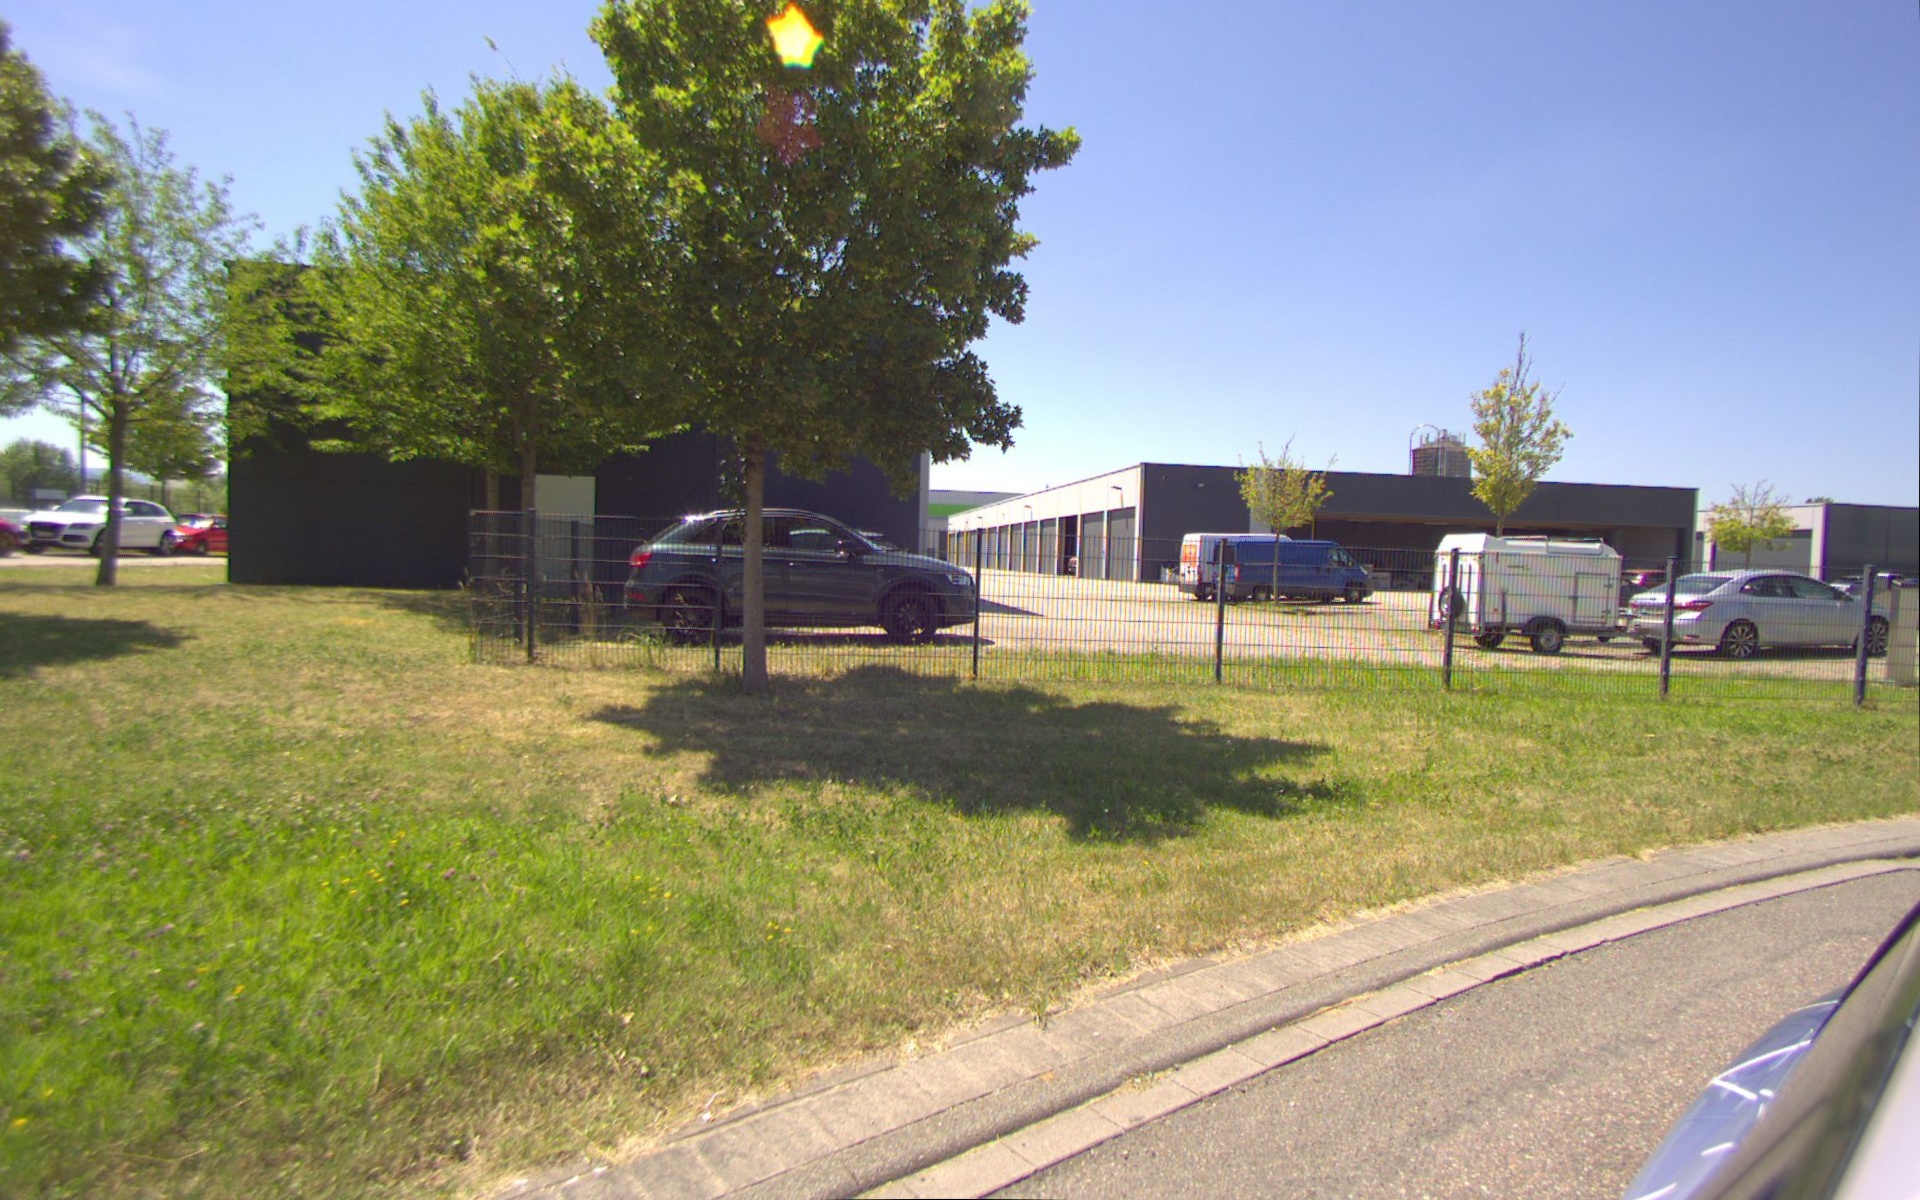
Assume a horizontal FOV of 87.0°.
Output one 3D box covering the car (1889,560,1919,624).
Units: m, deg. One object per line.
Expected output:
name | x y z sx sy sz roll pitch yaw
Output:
car | 24.701 -0.116 23.929 3.846 1.517 1.858 2 2 -6

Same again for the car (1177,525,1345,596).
car | 11.143 -1.468 37.681 5.562 2.487 2.200 -1 2 -9

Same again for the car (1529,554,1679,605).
car | 23.147 -0.754 36.463 4.168 1.651 1.971 2 2 -6

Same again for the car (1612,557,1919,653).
car | 14.357 0.035 17.783 4.758 1.517 1.858 -1 2 -6

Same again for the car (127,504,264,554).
car | -25.543 -2.349 34.004 1.788 1.458 4.120 3 3 -6

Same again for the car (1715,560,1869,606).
car | 28.440 -0.606 34.674 3.846 1.517 1.858 0 2 -6

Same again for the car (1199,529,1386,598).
car | 11.417 -1.290 34.926 5.713 2.251 2.149 0 3 -9

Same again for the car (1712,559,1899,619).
car | 24.159 -0.340 29.003 3.846 1.517 1.858 2 2 -6

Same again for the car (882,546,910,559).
car | -9.072 -6.725 143.481 3.920 1.794 2.002 1 0 -5

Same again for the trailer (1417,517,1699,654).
trailer | 10.119 -0.258 17.296 3.663 2.023 1.858 3 1 -7

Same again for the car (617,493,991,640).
car | -1.859 -0.411 12.410 4.195 1.621 1.784 0 3 -9

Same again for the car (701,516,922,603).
car | -2.879 -0.794 19.784 4.086 1.586 1.784 0 3 -9

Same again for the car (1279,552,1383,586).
car | 18.718 -1.581 51.146 4.513 1.517 1.858 2 2 -7

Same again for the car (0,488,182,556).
car | -24.341 -2.149 28.528 1.788 1.666 4.404 3 3 -6

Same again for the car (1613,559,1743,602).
car | 28.412 -0.786 40.112 3.846 1.517 1.858 2 2 -6

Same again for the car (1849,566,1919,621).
car | 28.431 -0.155 29.287 3.846 1.517 1.858 2 2 -6

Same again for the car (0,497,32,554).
car | -23.760 -1.768 23.047 1.744 1.373 4.180 3 3 -6
